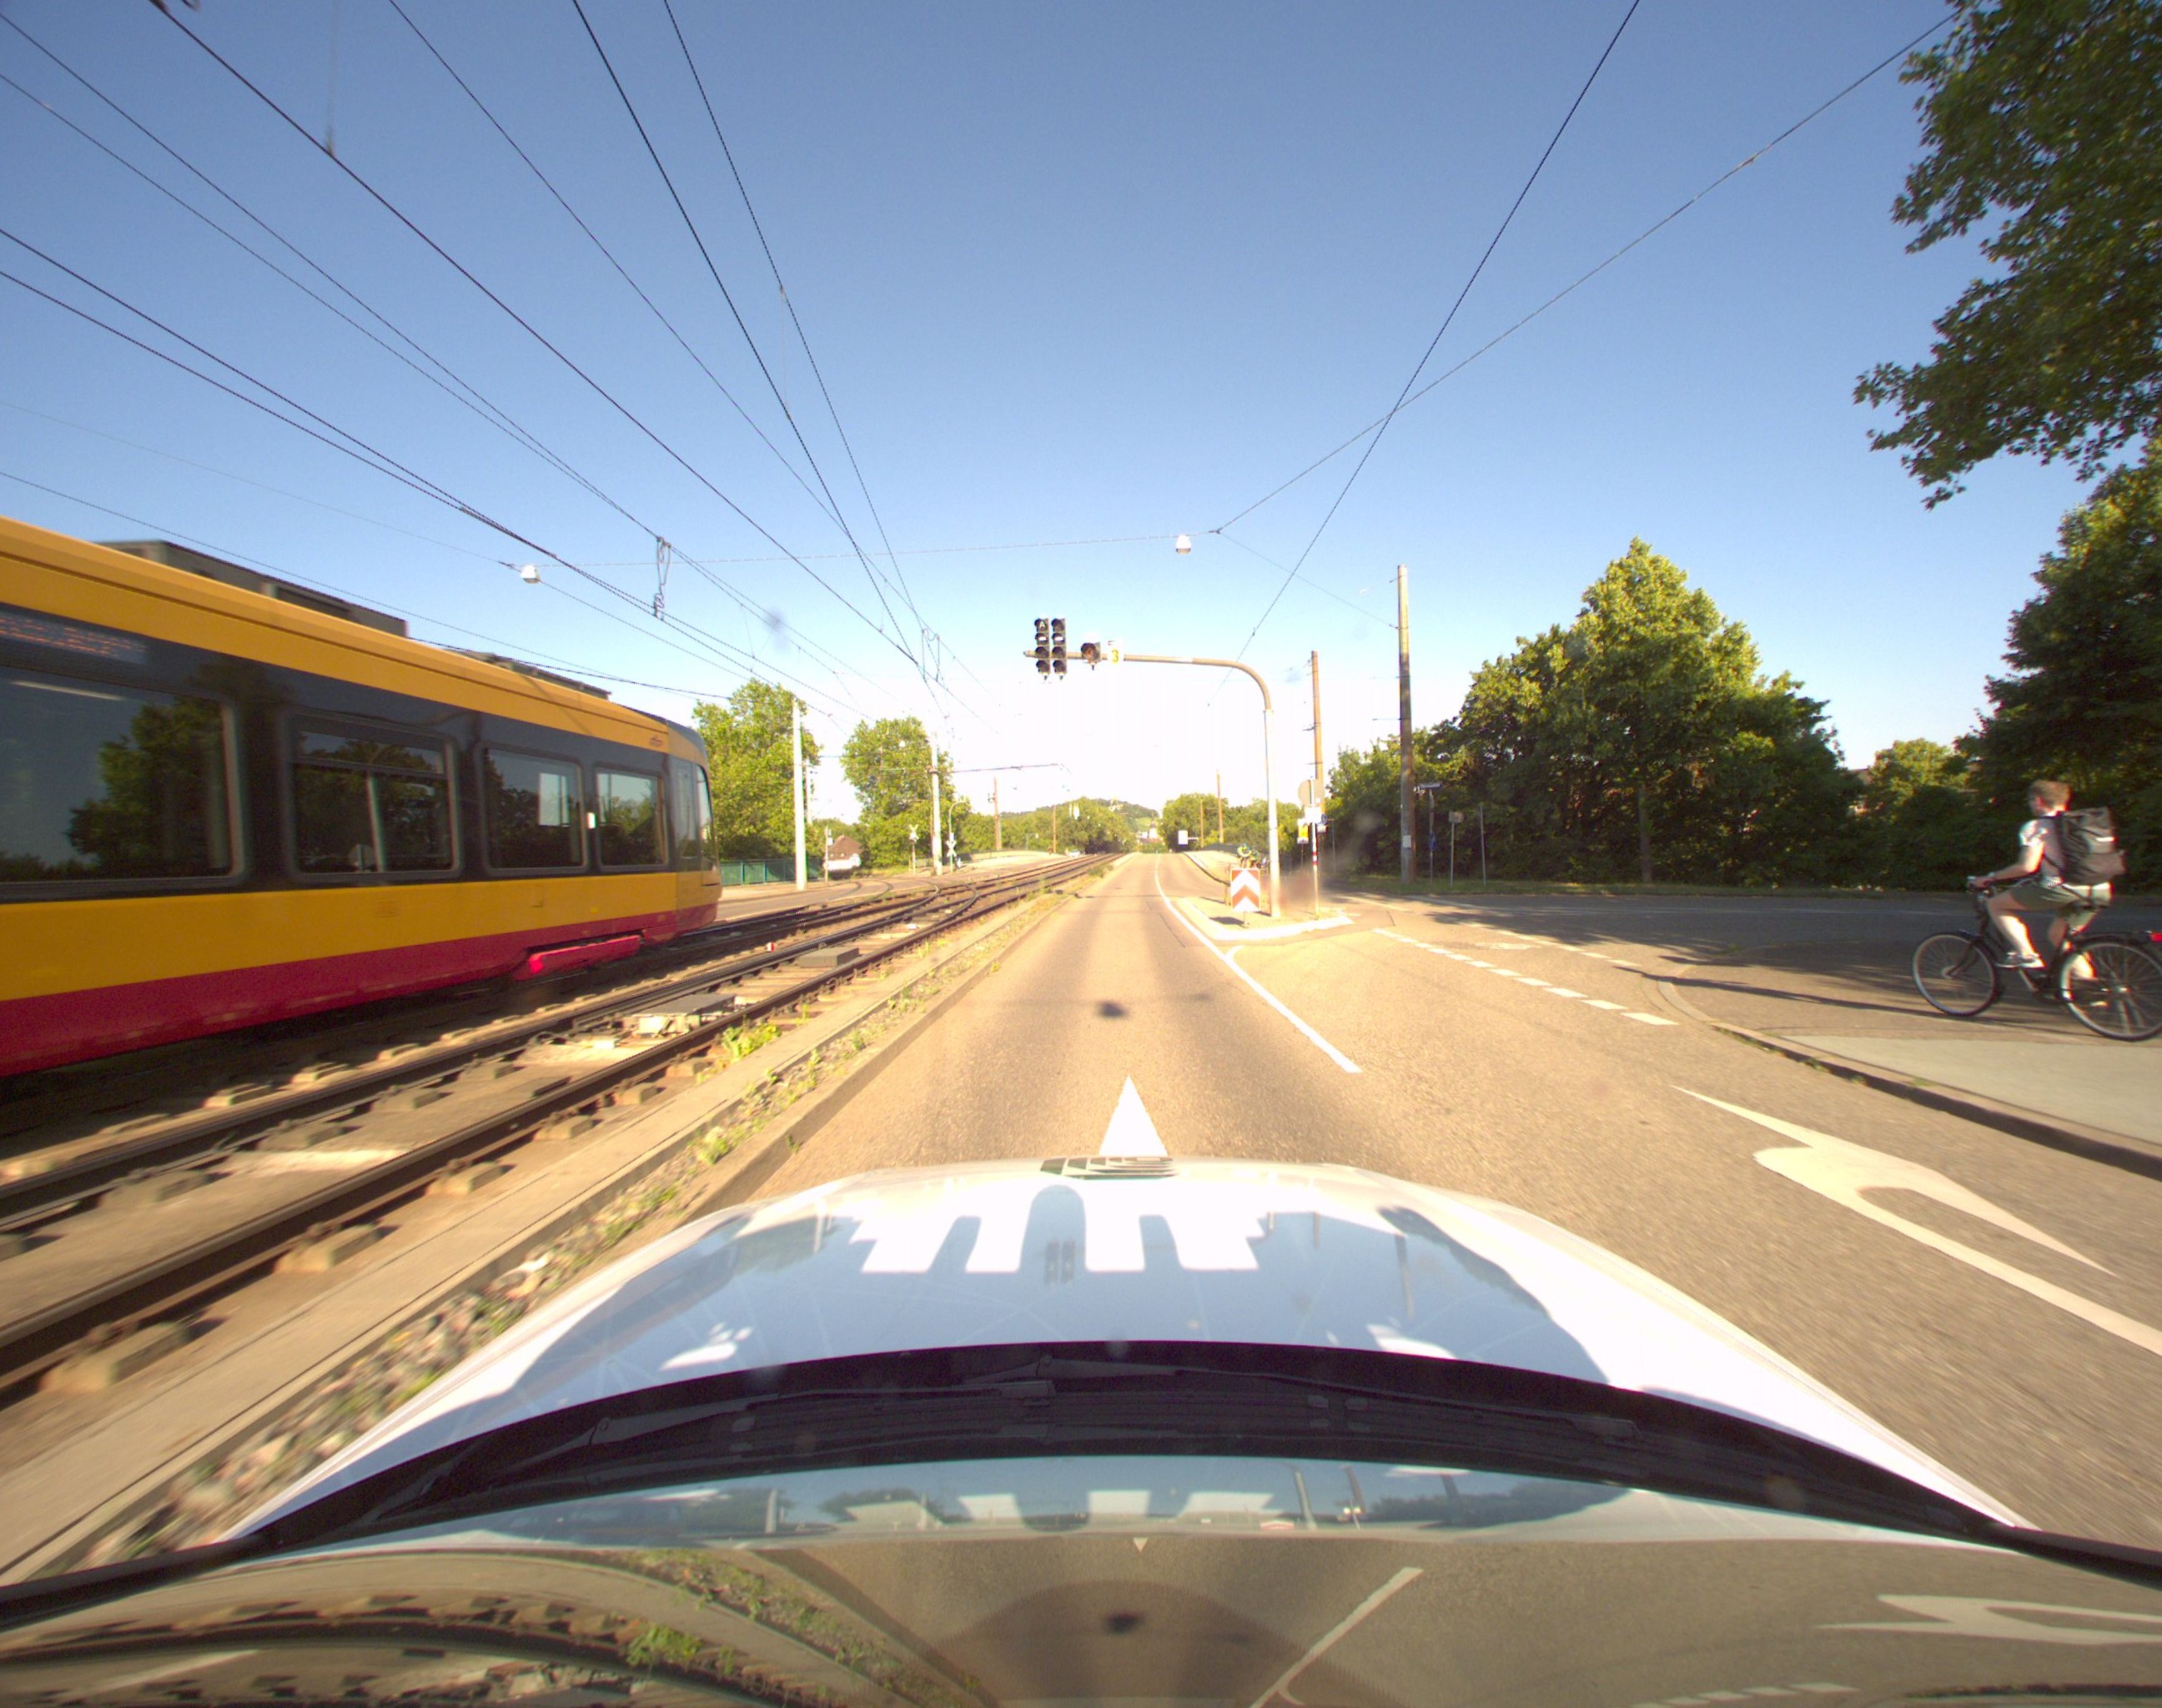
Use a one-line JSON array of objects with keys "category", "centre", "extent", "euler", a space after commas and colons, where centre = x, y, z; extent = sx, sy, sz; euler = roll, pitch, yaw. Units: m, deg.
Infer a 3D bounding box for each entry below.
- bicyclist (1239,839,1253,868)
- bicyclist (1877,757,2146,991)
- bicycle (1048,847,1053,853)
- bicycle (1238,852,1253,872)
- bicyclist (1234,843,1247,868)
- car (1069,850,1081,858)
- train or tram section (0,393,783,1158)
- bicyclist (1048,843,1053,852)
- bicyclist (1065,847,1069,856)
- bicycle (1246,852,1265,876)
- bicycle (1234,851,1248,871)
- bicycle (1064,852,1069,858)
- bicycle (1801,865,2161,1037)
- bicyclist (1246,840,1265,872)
[{"category": "bicyclist", "centre": [9.252, -0.014, 45.752], "extent": [0.622, 1.592, 0.932], "euler": [-1, 0, 5]}, {"category": "bicyclist", "centre": [7.339, 0.175, 6.523], "extent": [0.727, 1.690, 1.204], "euler": [-1, -4, 8]}, {"category": "bicycle", "centre": [-5.296, -0.674, 141.513], "extent": [0.622, 1.122, 2.264], "euler": [-1, 0, 7]}, {"category": "bicycle", "centre": [9.223, 0.443, 45.737], "extent": [0.622, 1.122, 2.045], "euler": [-1, 0, 5]}, {"category": "bicyclist", "centre": [9.584, 0.090, 48.908], "extent": [0.622, 1.508, 1.007], "euler": [-1, 0, 6]}, {"category": "car", "centre": [-1.137, -0.063, 150.615], "extent": [1.675, 1.356, 4.928], "euler": [-1, 0, 6]}, {"category": "train or tram section", "centre": [-6.856, -0.387, 7.621], "extent": [2.966, 3.900, 12.708], "euler": [-1, 0, 2]}, {"category": "bicyclist", "centre": [-5.301, -1.147, 141.552], "extent": [0.622, 1.432, 0.970], "euler": [-1, 0, 7]}, {"category": "bicyclist", "centre": [-2.897, -0.510, 164.365], "extent": [0.621, 1.633, 0.938], "euler": [-1, 0, 9]}, {"category": "bicycle", "centre": [8.631, 0.487, 40.316], "extent": [0.680, 1.122, 2.220], "euler": [-1, 1, 5]}, {"category": "bicycle", "centre": [9.586, 0.405, 48.921], "extent": [0.622, 1.122, 2.263], "euler": [-1, 1, 6]}, {"category": "bicycle", "centre": [-2.882, 0.139, 164.362], "extent": [0.621, 1.122, 2.265], "euler": [-1, 0, 9]}, {"category": "bicycle", "centre": [7.356, 0.706, 6.680], "extent": [0.727, 1.123, 2.747], "euler": [-1, -3, 8]}, {"category": "bicyclist", "centre": [8.612, 0.104, 40.292], "extent": [0.808, 1.562, 0.898], "euler": [-1, 1, 5]}]
